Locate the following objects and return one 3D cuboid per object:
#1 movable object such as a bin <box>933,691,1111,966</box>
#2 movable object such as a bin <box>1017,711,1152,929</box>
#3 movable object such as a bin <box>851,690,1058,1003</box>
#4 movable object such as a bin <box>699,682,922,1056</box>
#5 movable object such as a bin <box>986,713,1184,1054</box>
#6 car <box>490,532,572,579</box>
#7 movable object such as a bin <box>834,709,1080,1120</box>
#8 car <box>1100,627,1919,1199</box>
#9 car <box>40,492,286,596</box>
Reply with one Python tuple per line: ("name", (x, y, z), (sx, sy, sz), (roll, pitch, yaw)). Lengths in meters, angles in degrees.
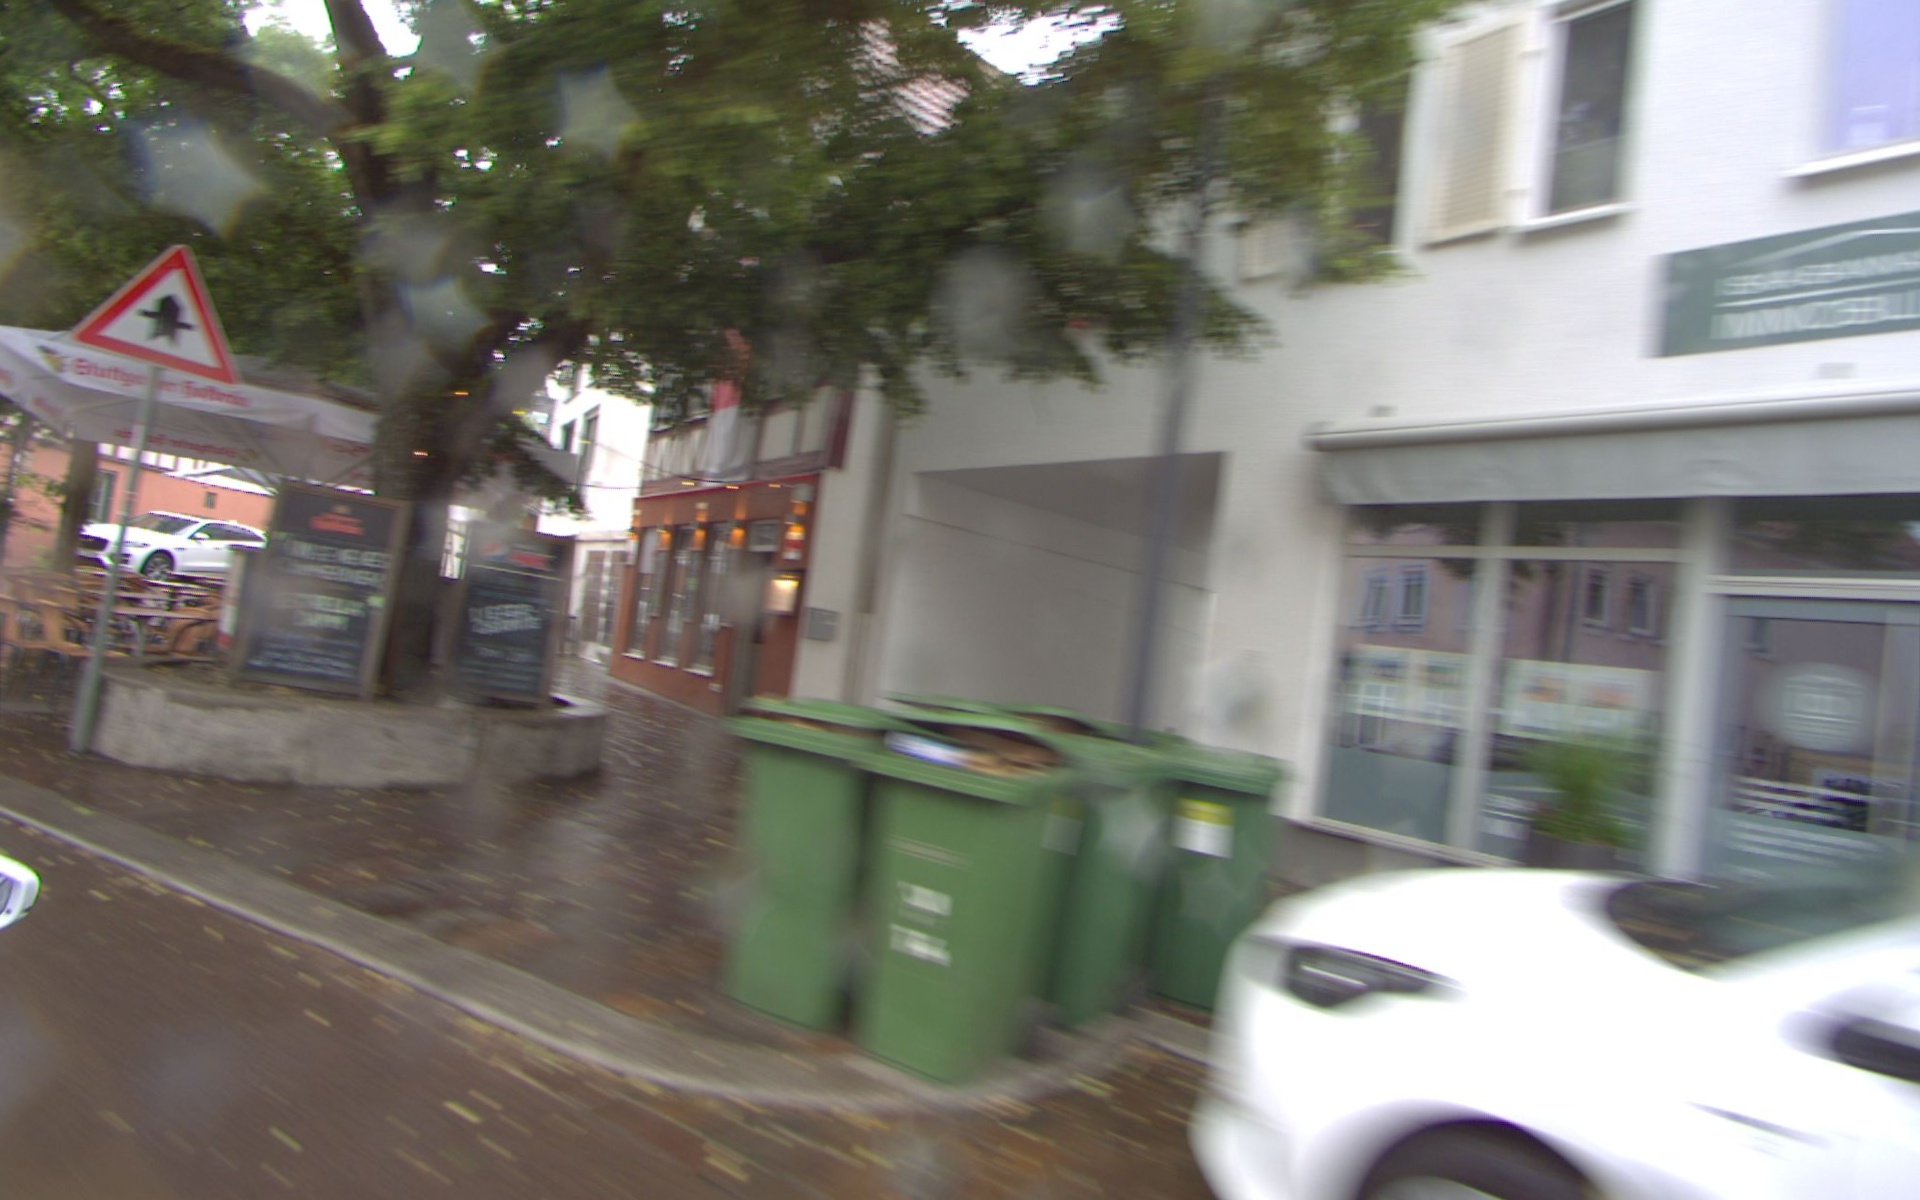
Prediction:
("movable object such as a bin", (0.307, 1.061, 4.873), (0.571, 1.162, 0.504), (6, -2, 30))
("movable object such as a bin", (0.684, 1.167, 5.487), (0.492, 1.059, 0.431), (6, -2, 30))
("movable object such as a bin", (-0.012, 1.014, 4.355), (0.575, 1.162, 0.545), (6, -2, 30))
("movable object such as a bin", (-0.535, 0.927, 3.674), (0.480, 1.182, 0.478), (6, -2, 30))
("movable object such as a bin", (0.508, 1.065, 3.993), (0.492, 1.162, 0.531), (6, -2, 30))
("car", (-19.300, -1.973, 45.433), (1.964, 1.547, 4.002), (7, -3, -2))
("movable object such as a bin", (0.005, 0.981, 3.369), (0.492, 1.162, 0.535), (6, -2, 30))
("car", (2.618, 1.093, 1.793), (4.338, 1.557, 1.691), (5, -3, 38))
("car", (-18.458, -1.196, 23.654), (1.910, 1.649, 4.471), (10, -2, 2))
